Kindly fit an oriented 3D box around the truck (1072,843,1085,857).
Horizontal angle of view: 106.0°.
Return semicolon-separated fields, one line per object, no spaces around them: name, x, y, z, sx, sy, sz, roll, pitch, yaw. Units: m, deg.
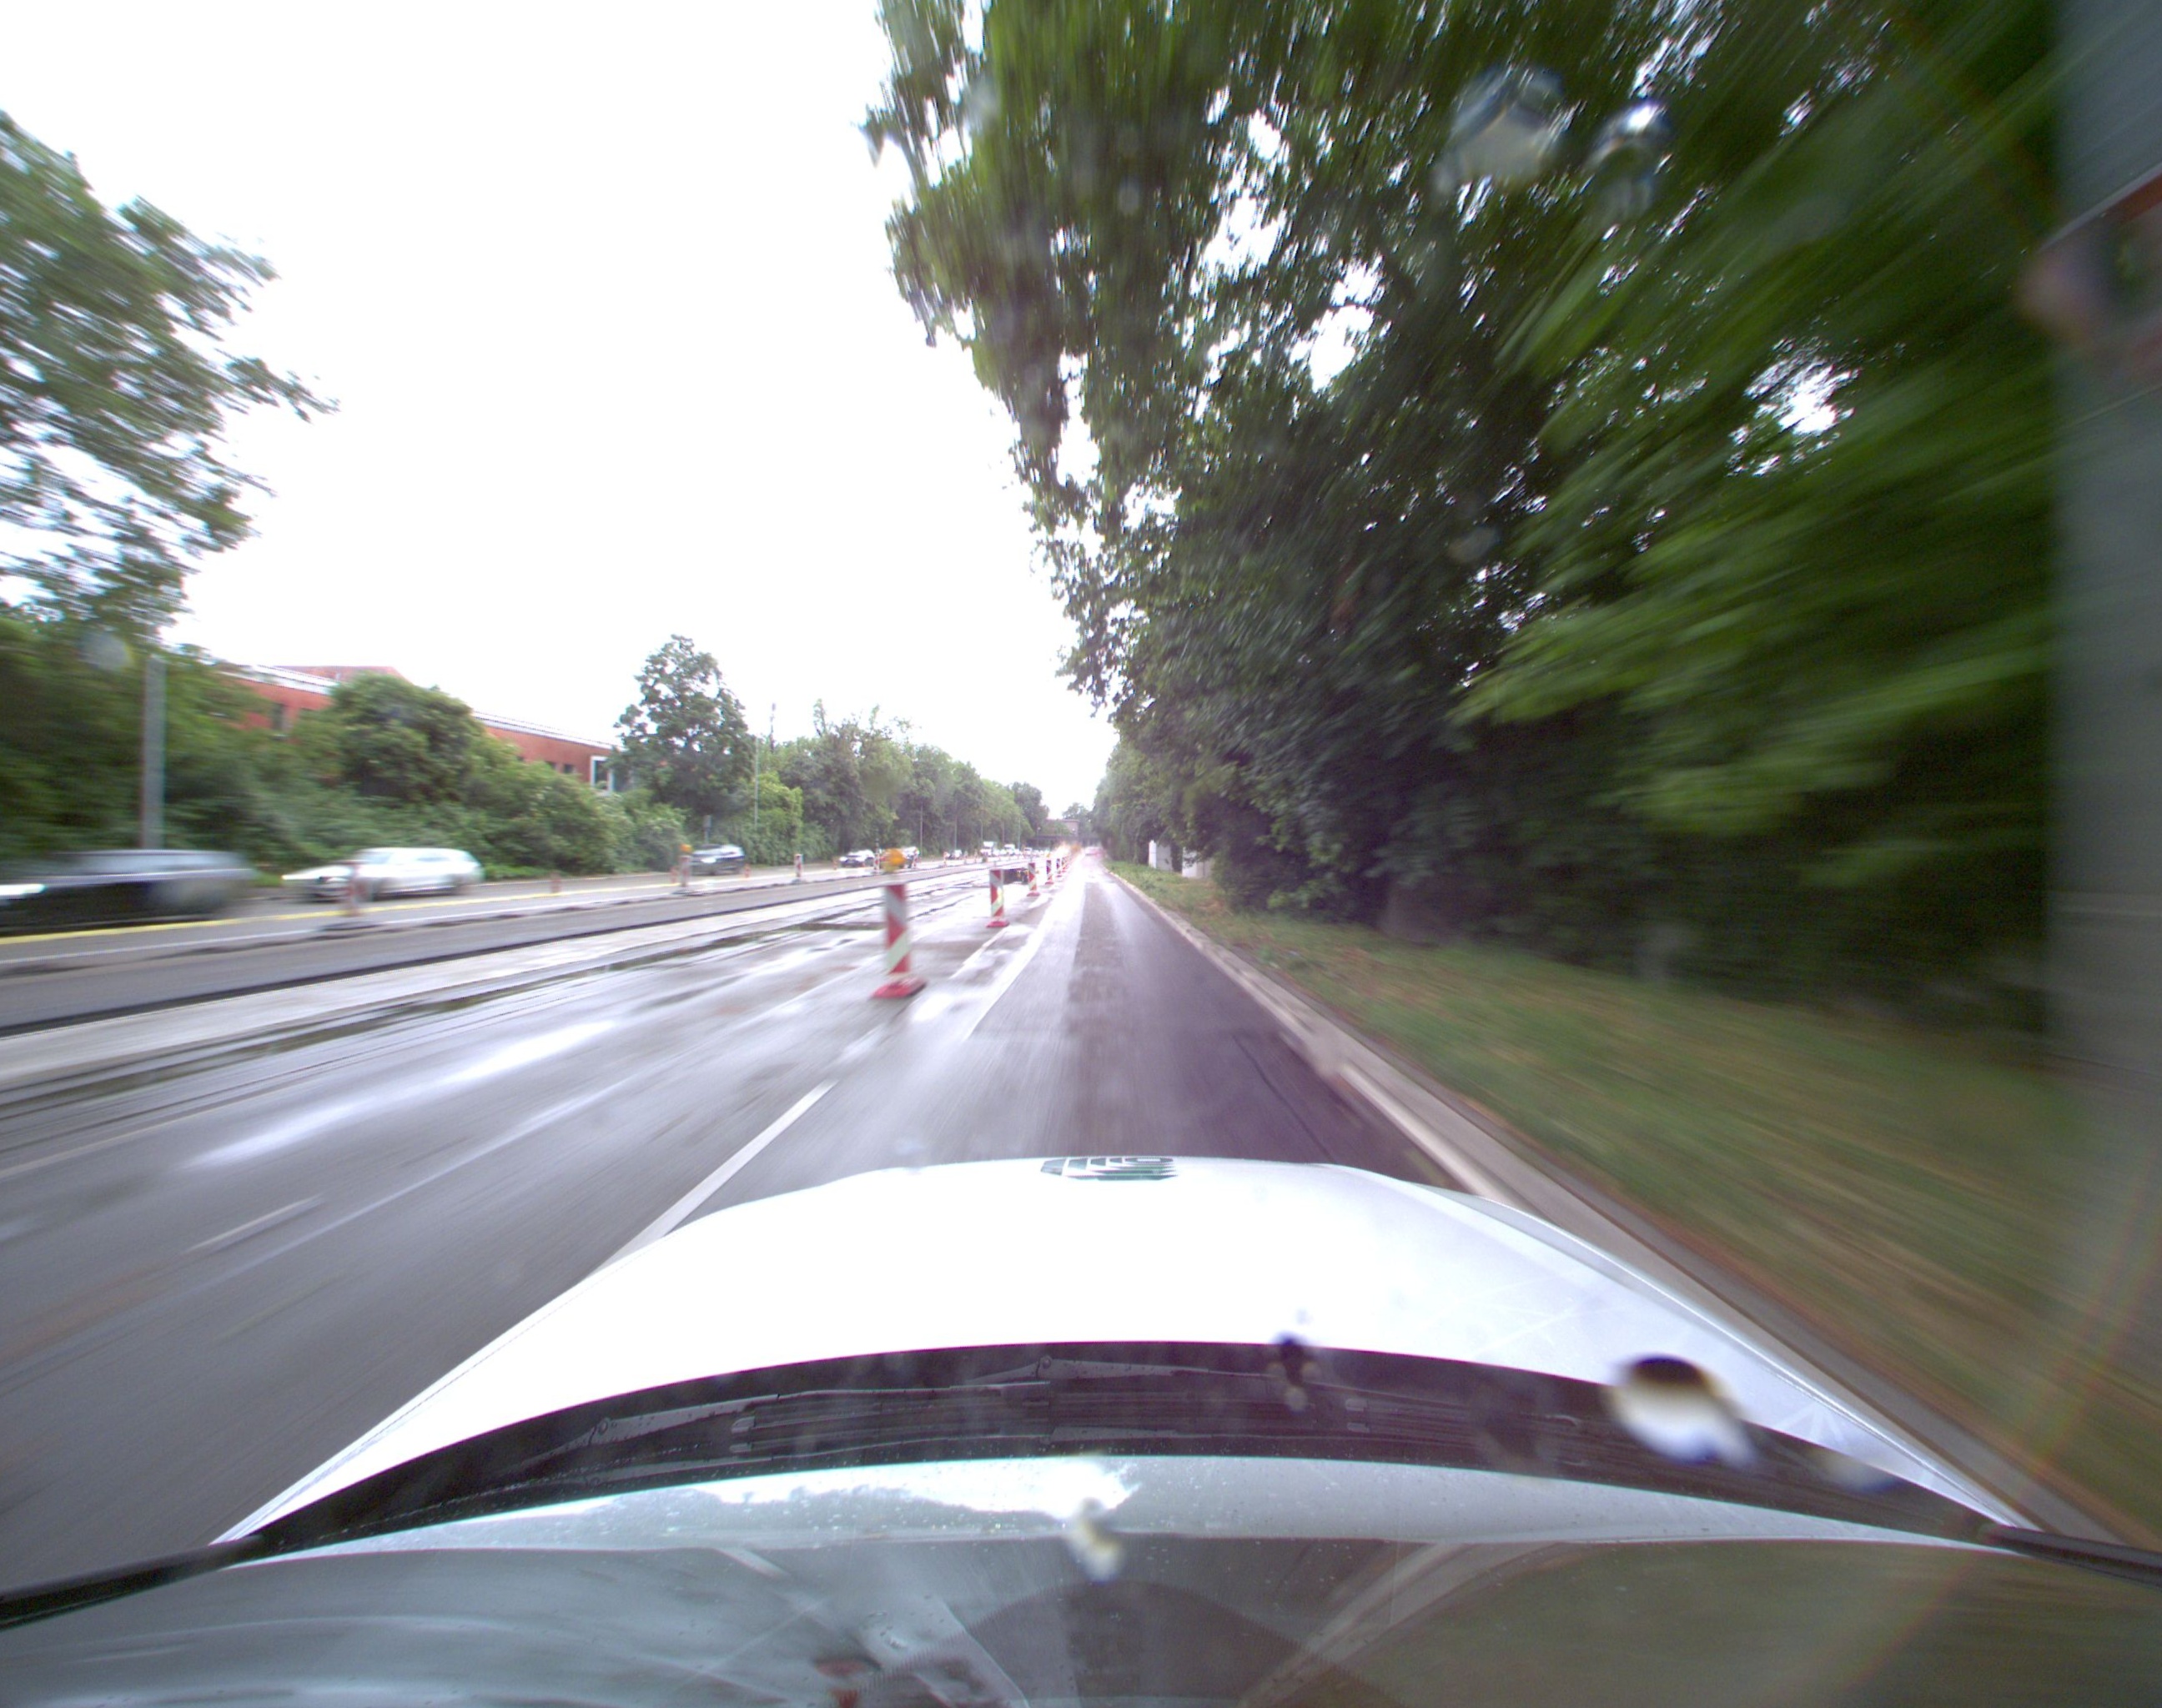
truck;-0.522;-1.065;220.676;3.248;3.497;13.870;1;0;0

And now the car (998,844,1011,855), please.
car;-17.637;-1.033;187.664;2.092;2.579;6.856;1;0;1

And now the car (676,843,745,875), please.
car;-20.376;0.249;44.987;1.647;1.685;4.533;1;0;0

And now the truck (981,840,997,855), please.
truck;-18.633;-1.244;164.692;2.237;2.940;6.937;1;0;1

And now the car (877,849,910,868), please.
car;-14.461;0.295;62.986;1.602;1.404;4.041;1;0;0

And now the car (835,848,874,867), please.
car;-18.101;0.275;65.350;1.755;1.483;4.899;0;0;0

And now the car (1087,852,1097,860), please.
car;1.852;0.404;139.751;1.692;1.336;3.491;-2;0;1

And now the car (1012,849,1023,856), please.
car;-14.192;-0.357;183.085;1.952;1.531;4.438;1;0;1

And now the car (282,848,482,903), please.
car;-20.164;0.555;23.815;1.812;1.419;4.603;1;0;0

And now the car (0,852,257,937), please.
car;-18.197;0.661;14.950;1.812;1.355;4.205;-1;0;0

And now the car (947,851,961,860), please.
car;-17.693;0.202;113.896;1.444;1.332;3.858;0;0;-2
